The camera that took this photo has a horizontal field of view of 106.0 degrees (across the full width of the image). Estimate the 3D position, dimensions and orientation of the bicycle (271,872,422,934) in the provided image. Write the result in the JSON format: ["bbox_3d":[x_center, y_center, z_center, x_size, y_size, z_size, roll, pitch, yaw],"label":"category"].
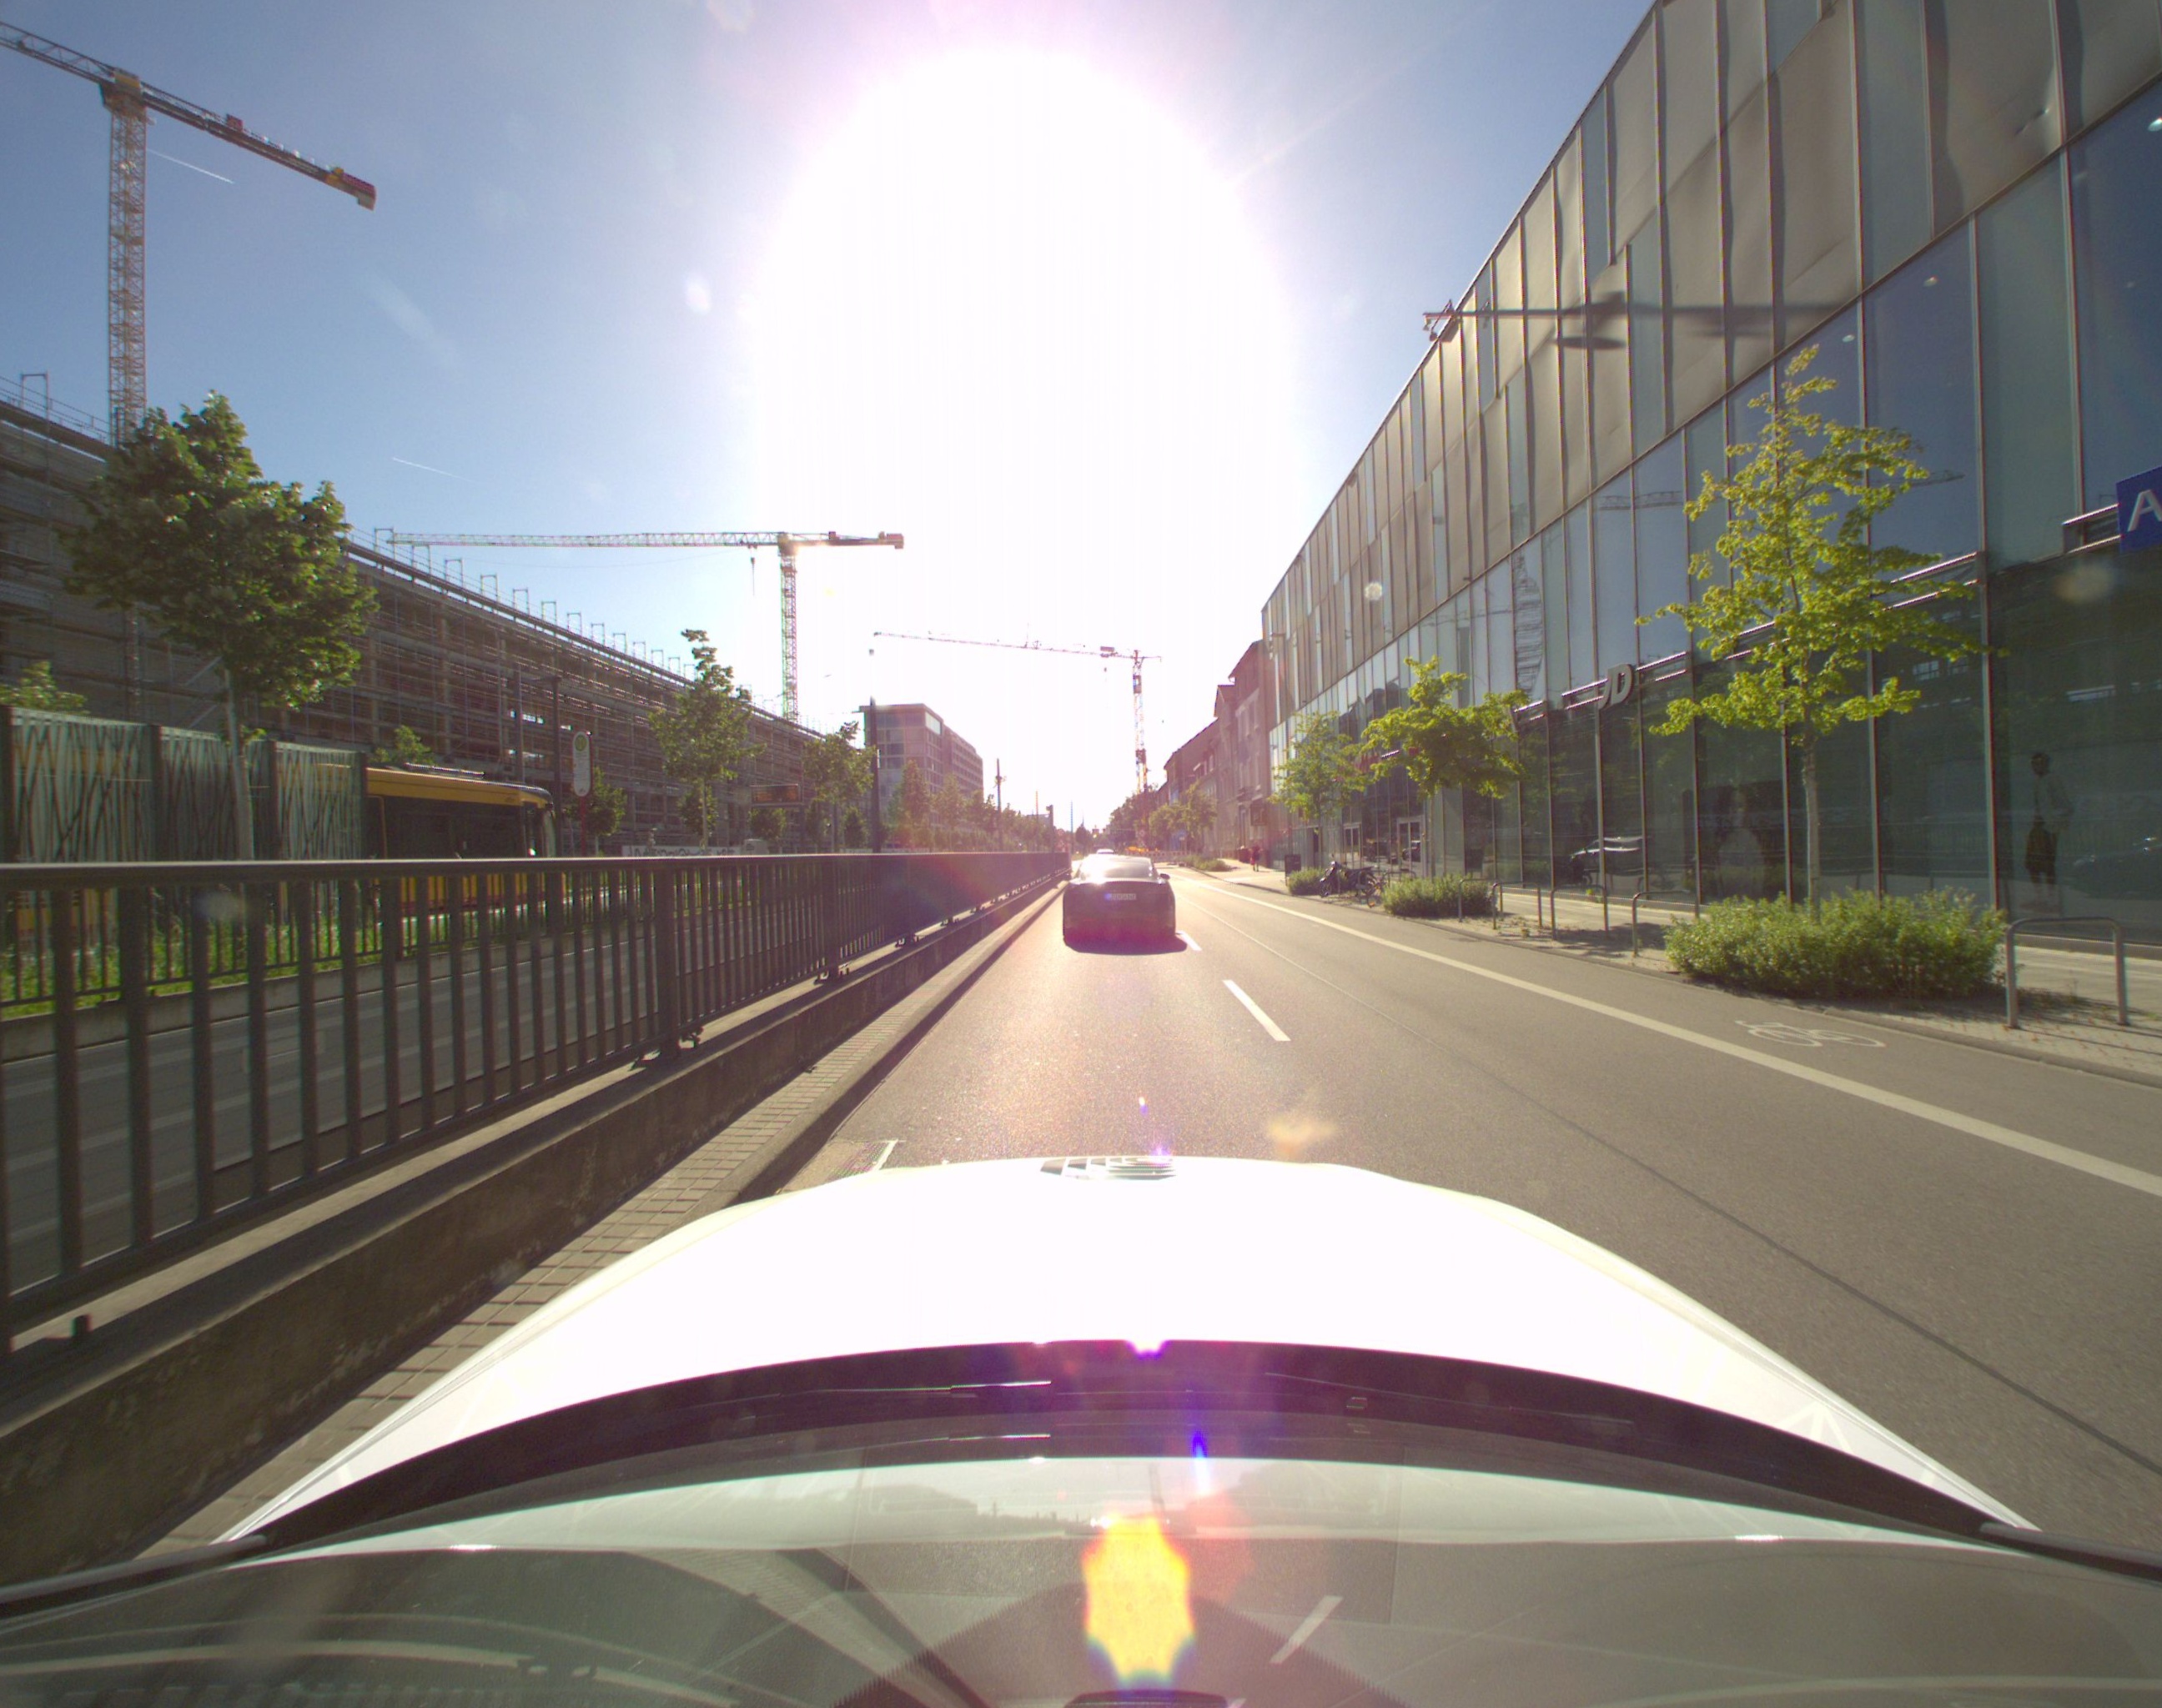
[{"bbox_3d":[-12.135,0.771,13.563,0.535,0.885,2.088,-2,0,2],"label":"bicycle"}]

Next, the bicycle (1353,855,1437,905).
[{"bbox_3d":[8.127,0.667,21.108,1.880,1.151,0.669,-3,0,-9],"label":"bicycle"}]

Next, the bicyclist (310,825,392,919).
[{"bbox_3d":[-12.145,0.288,13.567,0.535,1.491,0.853,-2,0,2],"label":"bicyclist"}]

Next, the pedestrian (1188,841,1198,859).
[{"bbox_3d":[11.839,-0.421,85.933,0.848,1.863,0.930,-2,0,0],"label":"pedestrian"}]

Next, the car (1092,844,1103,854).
[{"bbox_3d":[3.122,-0.981,149.996,1.806,1.809,4.042,-1,1,3],"label":"car"}]

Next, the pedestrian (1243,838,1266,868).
[{"bbox_3d":[10.993,-0.078,51.588,1.091,1.863,1.523,-2,0,1],"label":"pedestrian"}]

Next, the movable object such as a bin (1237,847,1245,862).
[{"bbox_3d":[12.381,0.048,62.845,0.556,1.169,0.563,0,0,5],"label":"movable object such as a bin"}]

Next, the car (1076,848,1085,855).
[{"bbox_3d":[0.005,-0.561,186.425,1.986,1.684,4.000,0,0,1],"label":"car"}]

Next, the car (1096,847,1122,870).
[{"bbox_3d":[2.027,0.302,58.308,1.777,1.546,4.042,-1,1,3],"label":"car"}]

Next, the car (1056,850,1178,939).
[{"bbox_3d":[0.749,0.658,15.662,1.990,1.434,4.417,-1,0,4],"label":"car"}]

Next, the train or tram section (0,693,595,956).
[{"bbox_3d":[-14.902,-0.378,10.852,2.859,3.279,22.154,0,0,2],"label":"train or tram section"}]

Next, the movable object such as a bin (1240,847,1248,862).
[{"bbox_3d":[12.433,0.047,61.995,0.556,1.169,0.563,0,0,5],"label":"movable object such as a bin"}]

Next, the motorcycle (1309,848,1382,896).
[{"bbox_3d":[8.336,0.575,25.676,2.054,1.353,0.656,-4,-1,25],"label":"motorcycle"}]

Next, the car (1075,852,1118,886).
[{"bbox_3d":[0.714,0.601,35.536,1.709,1.319,4.003,-1,1,3],"label":"car"}]
